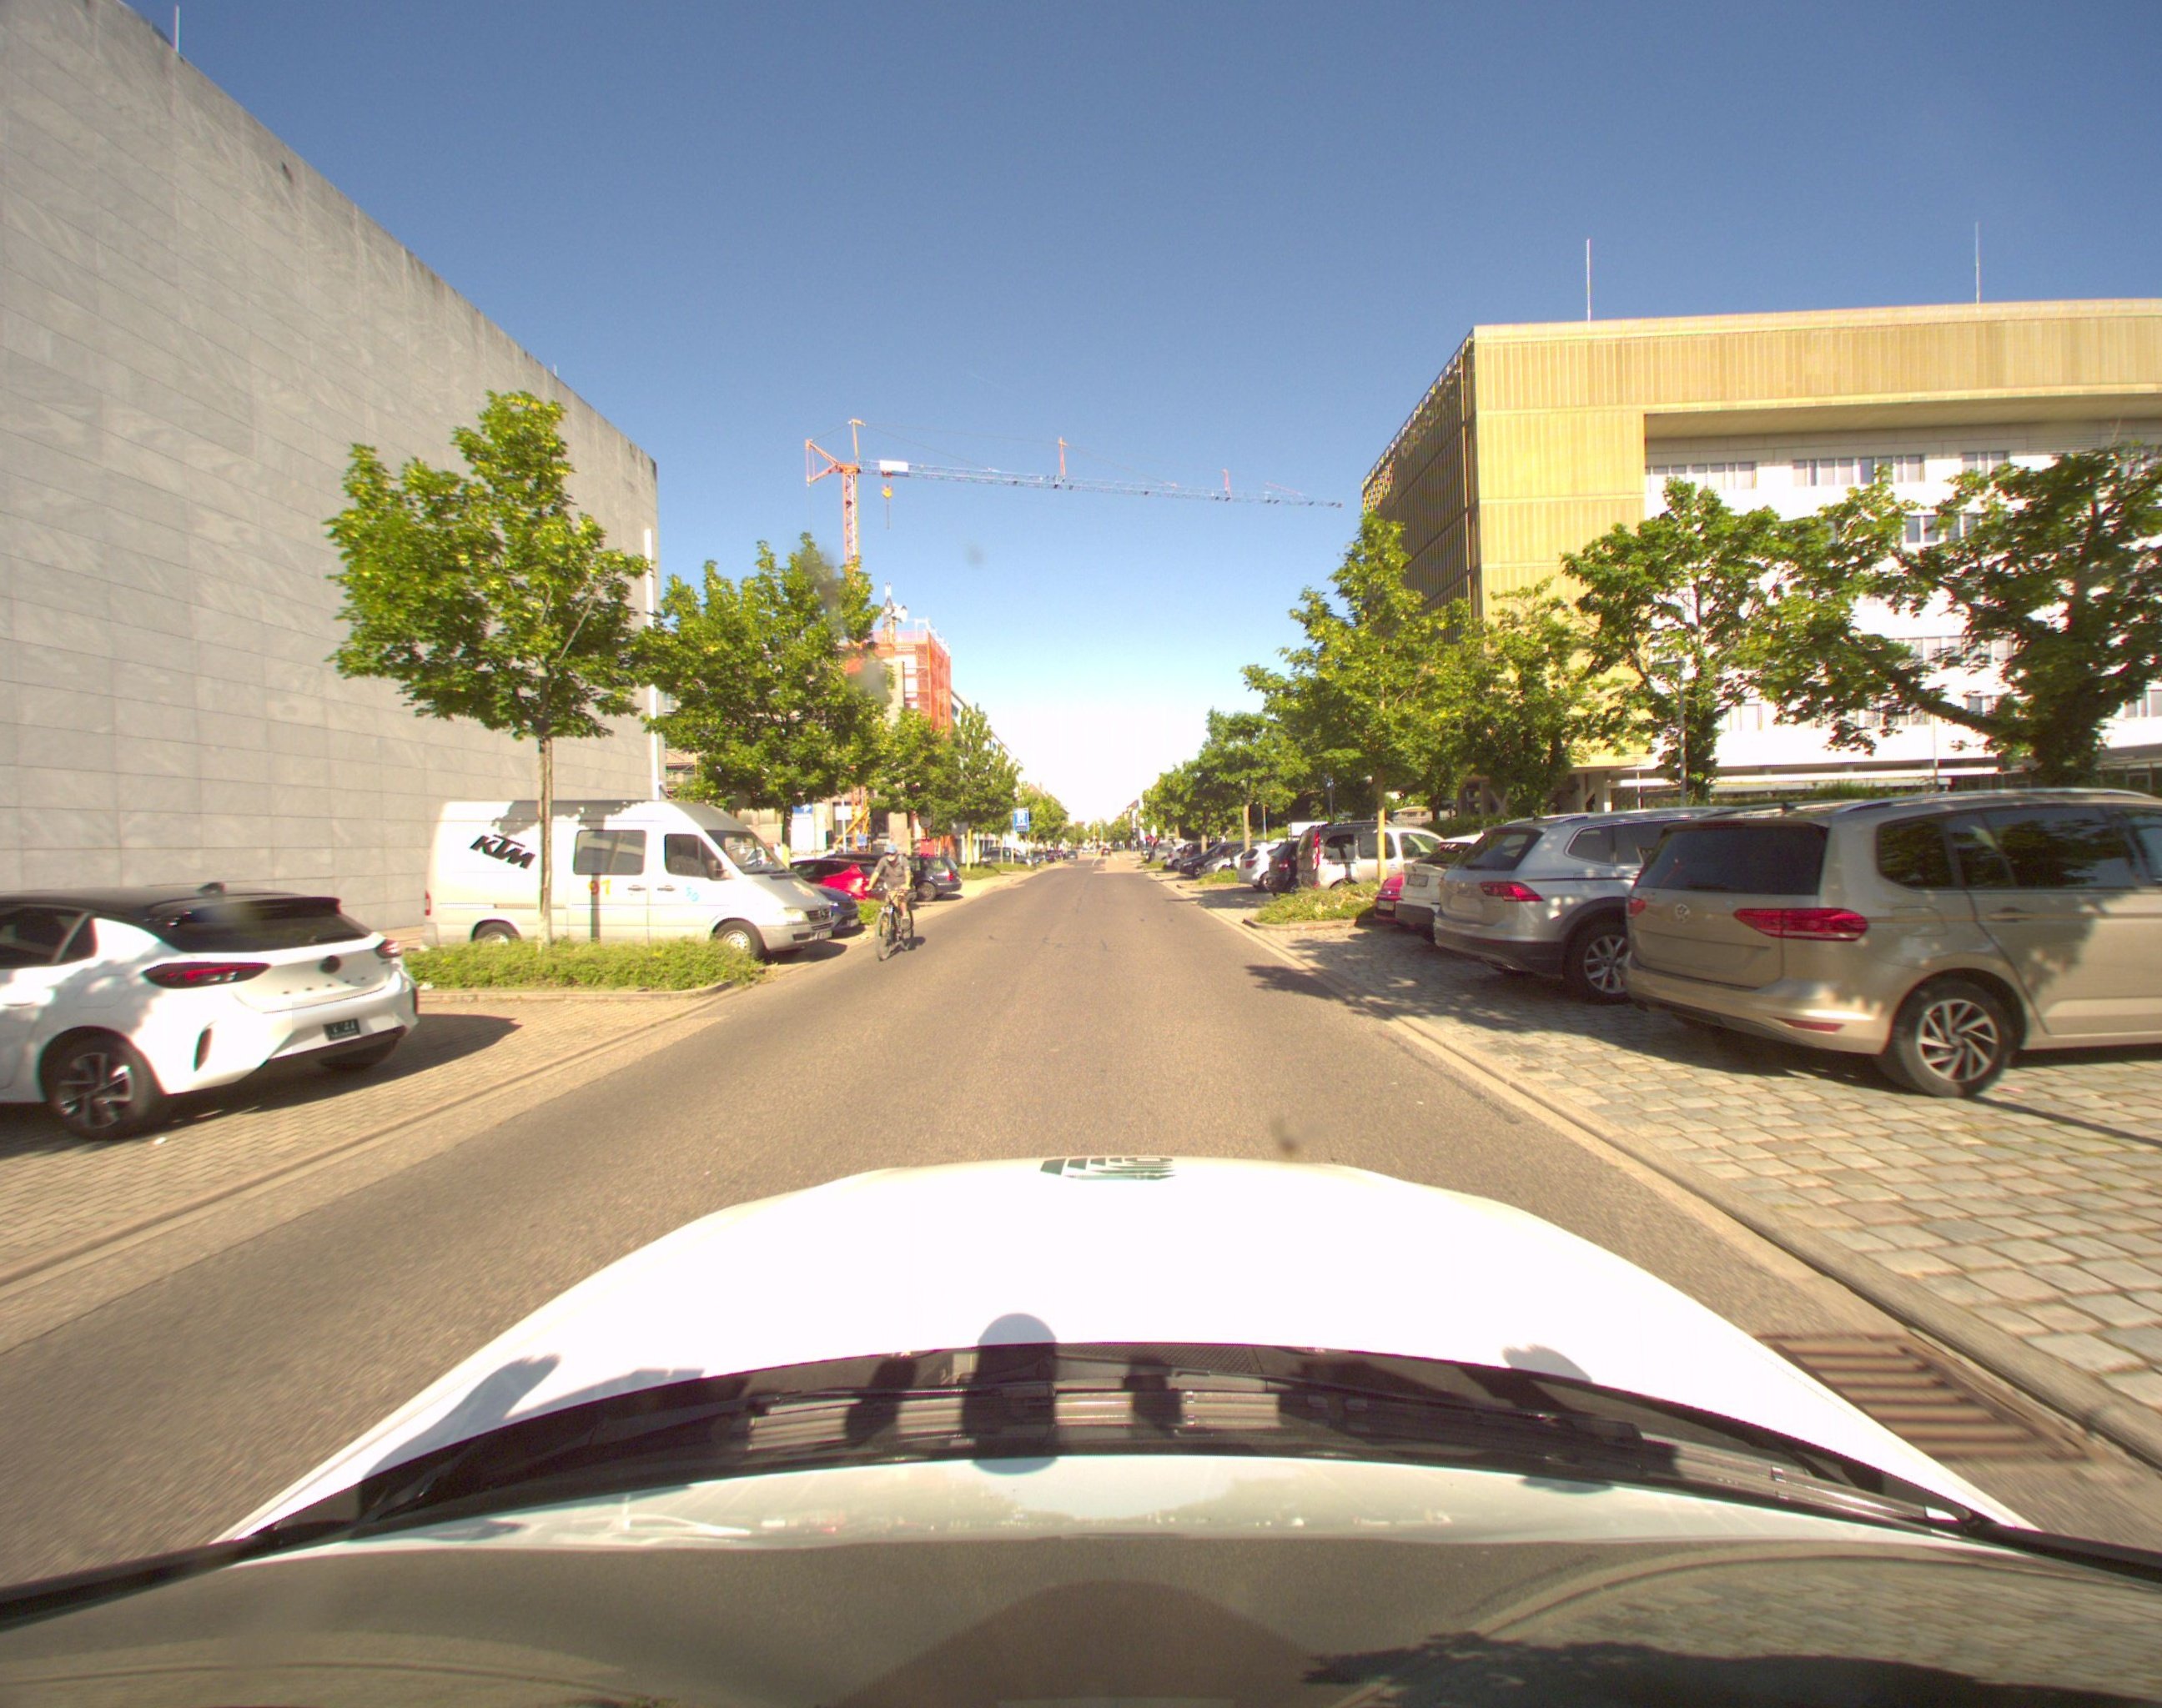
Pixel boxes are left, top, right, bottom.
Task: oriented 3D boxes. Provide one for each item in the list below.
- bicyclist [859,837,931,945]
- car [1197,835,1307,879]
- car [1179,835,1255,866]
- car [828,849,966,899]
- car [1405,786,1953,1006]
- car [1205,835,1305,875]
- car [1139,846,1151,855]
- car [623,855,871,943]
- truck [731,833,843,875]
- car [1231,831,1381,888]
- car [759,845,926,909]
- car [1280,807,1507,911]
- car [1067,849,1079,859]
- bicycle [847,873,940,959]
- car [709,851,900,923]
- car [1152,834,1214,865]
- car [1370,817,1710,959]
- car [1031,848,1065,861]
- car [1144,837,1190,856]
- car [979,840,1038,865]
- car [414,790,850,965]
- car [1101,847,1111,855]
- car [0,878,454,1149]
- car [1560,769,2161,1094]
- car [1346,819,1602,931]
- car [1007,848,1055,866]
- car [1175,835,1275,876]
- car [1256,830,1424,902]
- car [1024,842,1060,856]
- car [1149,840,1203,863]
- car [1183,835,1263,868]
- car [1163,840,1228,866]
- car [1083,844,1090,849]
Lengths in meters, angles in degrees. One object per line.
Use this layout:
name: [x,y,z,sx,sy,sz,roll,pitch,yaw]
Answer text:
bicyclist: [-2.880,0.548,12.709,0.680,1.580,1.063,-3,0,6]
car: [6.618,0.109,31.786,3.887,1.486,1.743,-2,1,0]
car: [7.670,-0.190,46.230,3.972,1.582,2.032,-3,0,2]
car: [-5.971,0.638,26.876,4.119,1.492,1.868,-1,2,-2]
car: [5.471,0.322,7.870,3.887,1.695,1.940,-3,2,-1]
car: [7.313,0.019,34.497,3.851,1.504,1.652,-3,1,-1]
car: [12.533,-0.741,159.503,1.983,1.474,4.110,-3,2,0]
car: [-6.217,0.816,15.467,3.916,1.485,1.787,-1,0,3]
truck: [-20.447,-0.004,56.850,6.829,2.547,2.282,-2,1,3]
car: [6.746,0.165,24.752,4.045,1.425,1.743,-4,0,2]
car: [-6.485,0.603,22.397,3.969,1.664,1.830,-1,1,4]
car: [6.621,0.063,17.570,4.106,1.927,1.978,-3,2,-1]
car: [-1.274,-0.037,128.907,1.805,1.474,4.111,-3,2,1]
bicycle: [-2.859,0.908,12.661,0.694,1.110,2.083,-3,0,6]
car: [-6.698,0.769,20.058,3.971,1.517,1.856,-2,0,2]
car: [6.829,-0.345,55.017,3.972,1.879,1.683,-3,1,2]
car: [5.858,0.372,10.656,3.490,1.529,1.736,-3,2,-4]
car: [-4.402,0.050,108.133,4.316,1.474,1.818,-3,1,1]
car: [7.600,-0.625,71.944,3.894,1.474,1.760,-2,-1,5]
car: [-5.439,-0.120,61.384,4.247,1.665,1.599,-3,1,0]
car: [-6.604,0.326,12.398,5.528,2.409,1.990,-1,1,3]
car: [4.717,-0.566,155.417,1.804,1.474,4.114,-2,2,2]
car: [-6.984,0.962,5.641,3.816,1.472,1.849,0,1,1]
car: [5.859,0.336,5.337,4.309,1.607,1.911,-3,1,-3]
car: [6.255,0.307,13.138,3.360,1.530,1.596,-3,0,-7]
car: [-4.669,0.252,76.258,4.320,1.474,1.816,-3,1,-2]
car: [6.458,0.038,36.821,4.131,1.580,1.741,-3,1,0]
car: [6.340,0.256,20.200,3.595,1.549,1.707,-3,2,-1]
car: [-4.818,-0.664,101.112,4.316,1.474,1.818,-3,1,1]
car: [7.074,-0.196,60.779,3.894,1.474,1.798,-2,1,5]
car: [7.533,-0.121,43.582,3.972,1.538,1.862,-3,0,2]
car: [7.144,-0.074,51.049,3.752,1.459,1.818,-3,0,1]
car: [1.632,-2.117,231.239,1.804,1.474,4.114,-2,2,2]
